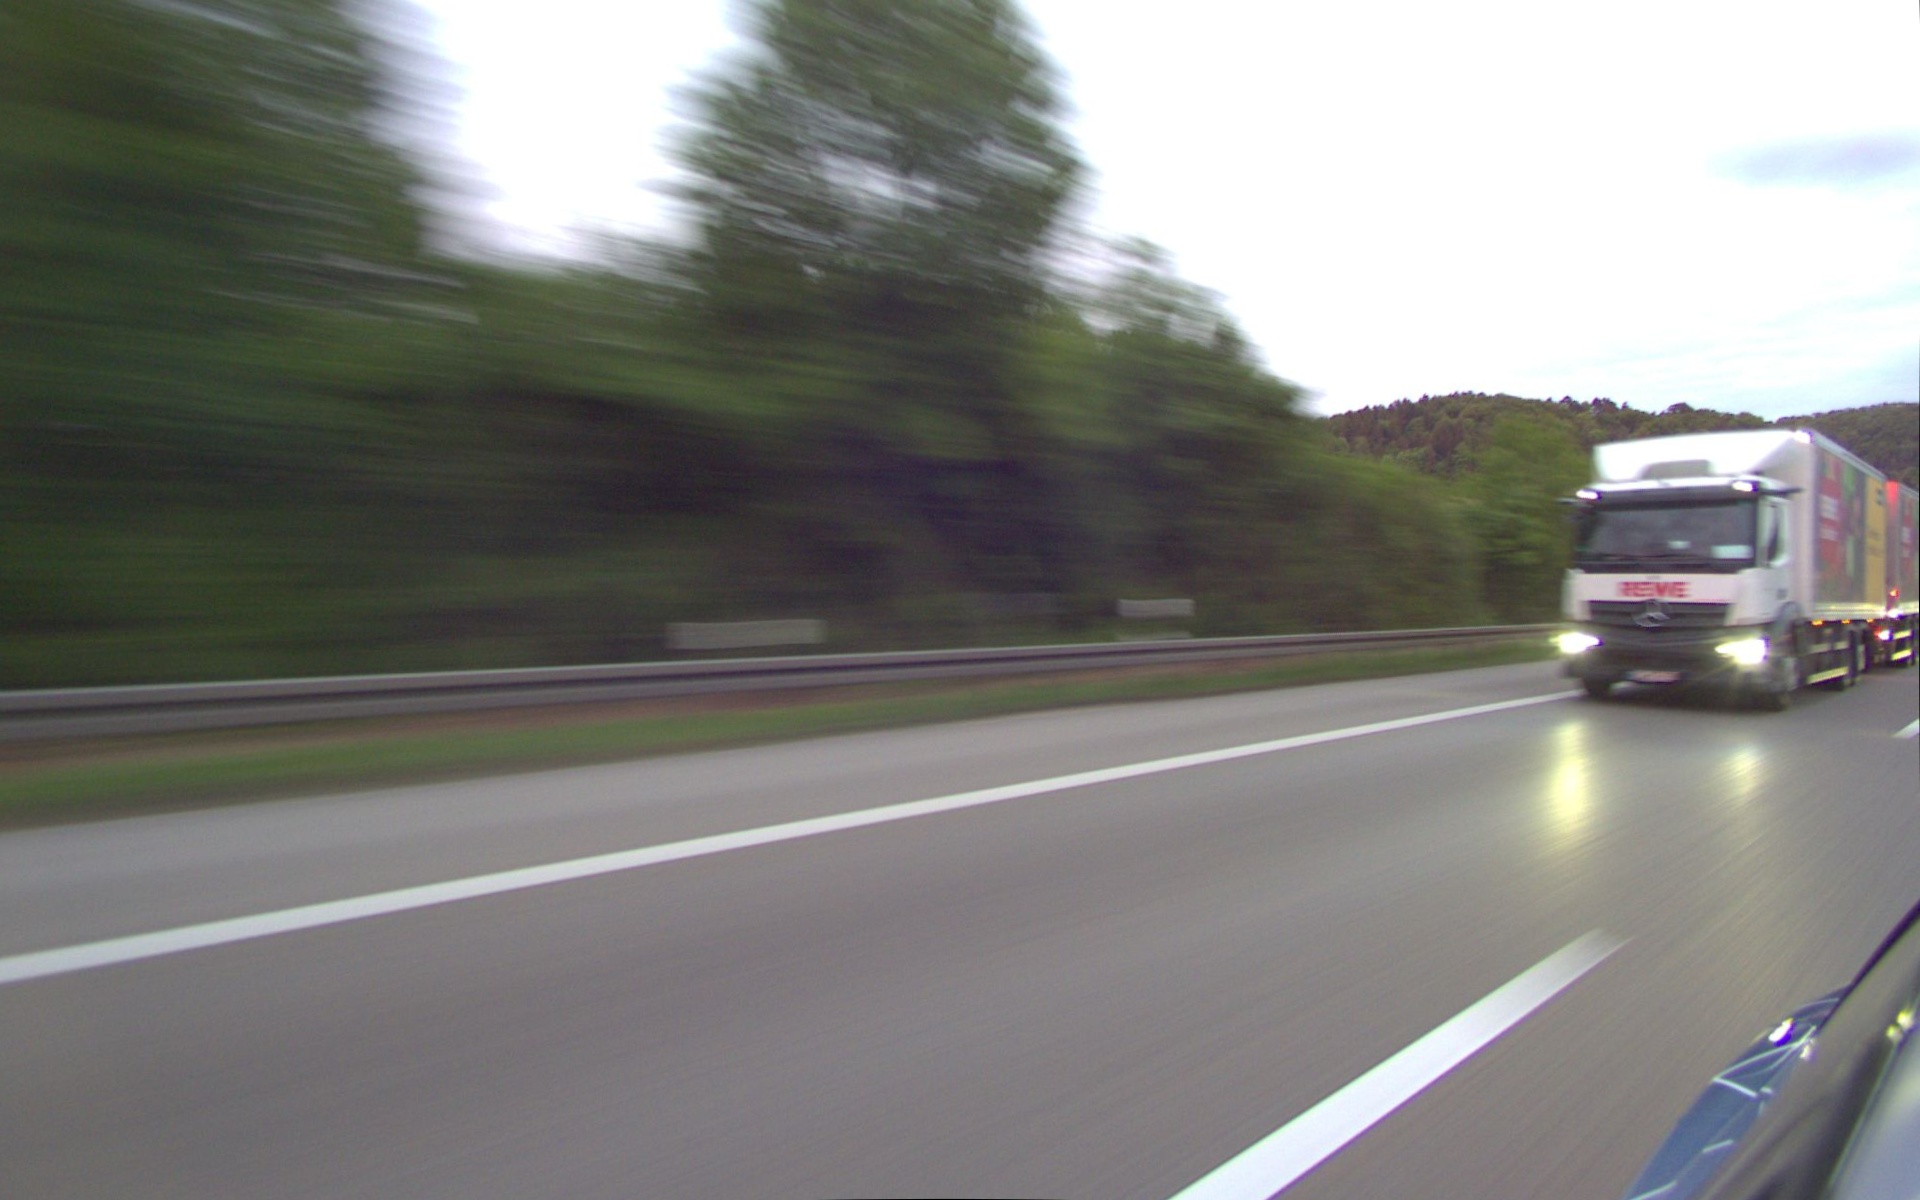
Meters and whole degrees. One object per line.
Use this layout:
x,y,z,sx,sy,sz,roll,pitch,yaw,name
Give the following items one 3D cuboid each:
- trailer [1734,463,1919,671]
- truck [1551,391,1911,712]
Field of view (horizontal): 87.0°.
20.190,-0.682,22.795,8.723,3.874,2.621,0,2,-41,trailer
13.040,-0.653,16.567,10.205,3.874,2.621,0,2,-41,truck
